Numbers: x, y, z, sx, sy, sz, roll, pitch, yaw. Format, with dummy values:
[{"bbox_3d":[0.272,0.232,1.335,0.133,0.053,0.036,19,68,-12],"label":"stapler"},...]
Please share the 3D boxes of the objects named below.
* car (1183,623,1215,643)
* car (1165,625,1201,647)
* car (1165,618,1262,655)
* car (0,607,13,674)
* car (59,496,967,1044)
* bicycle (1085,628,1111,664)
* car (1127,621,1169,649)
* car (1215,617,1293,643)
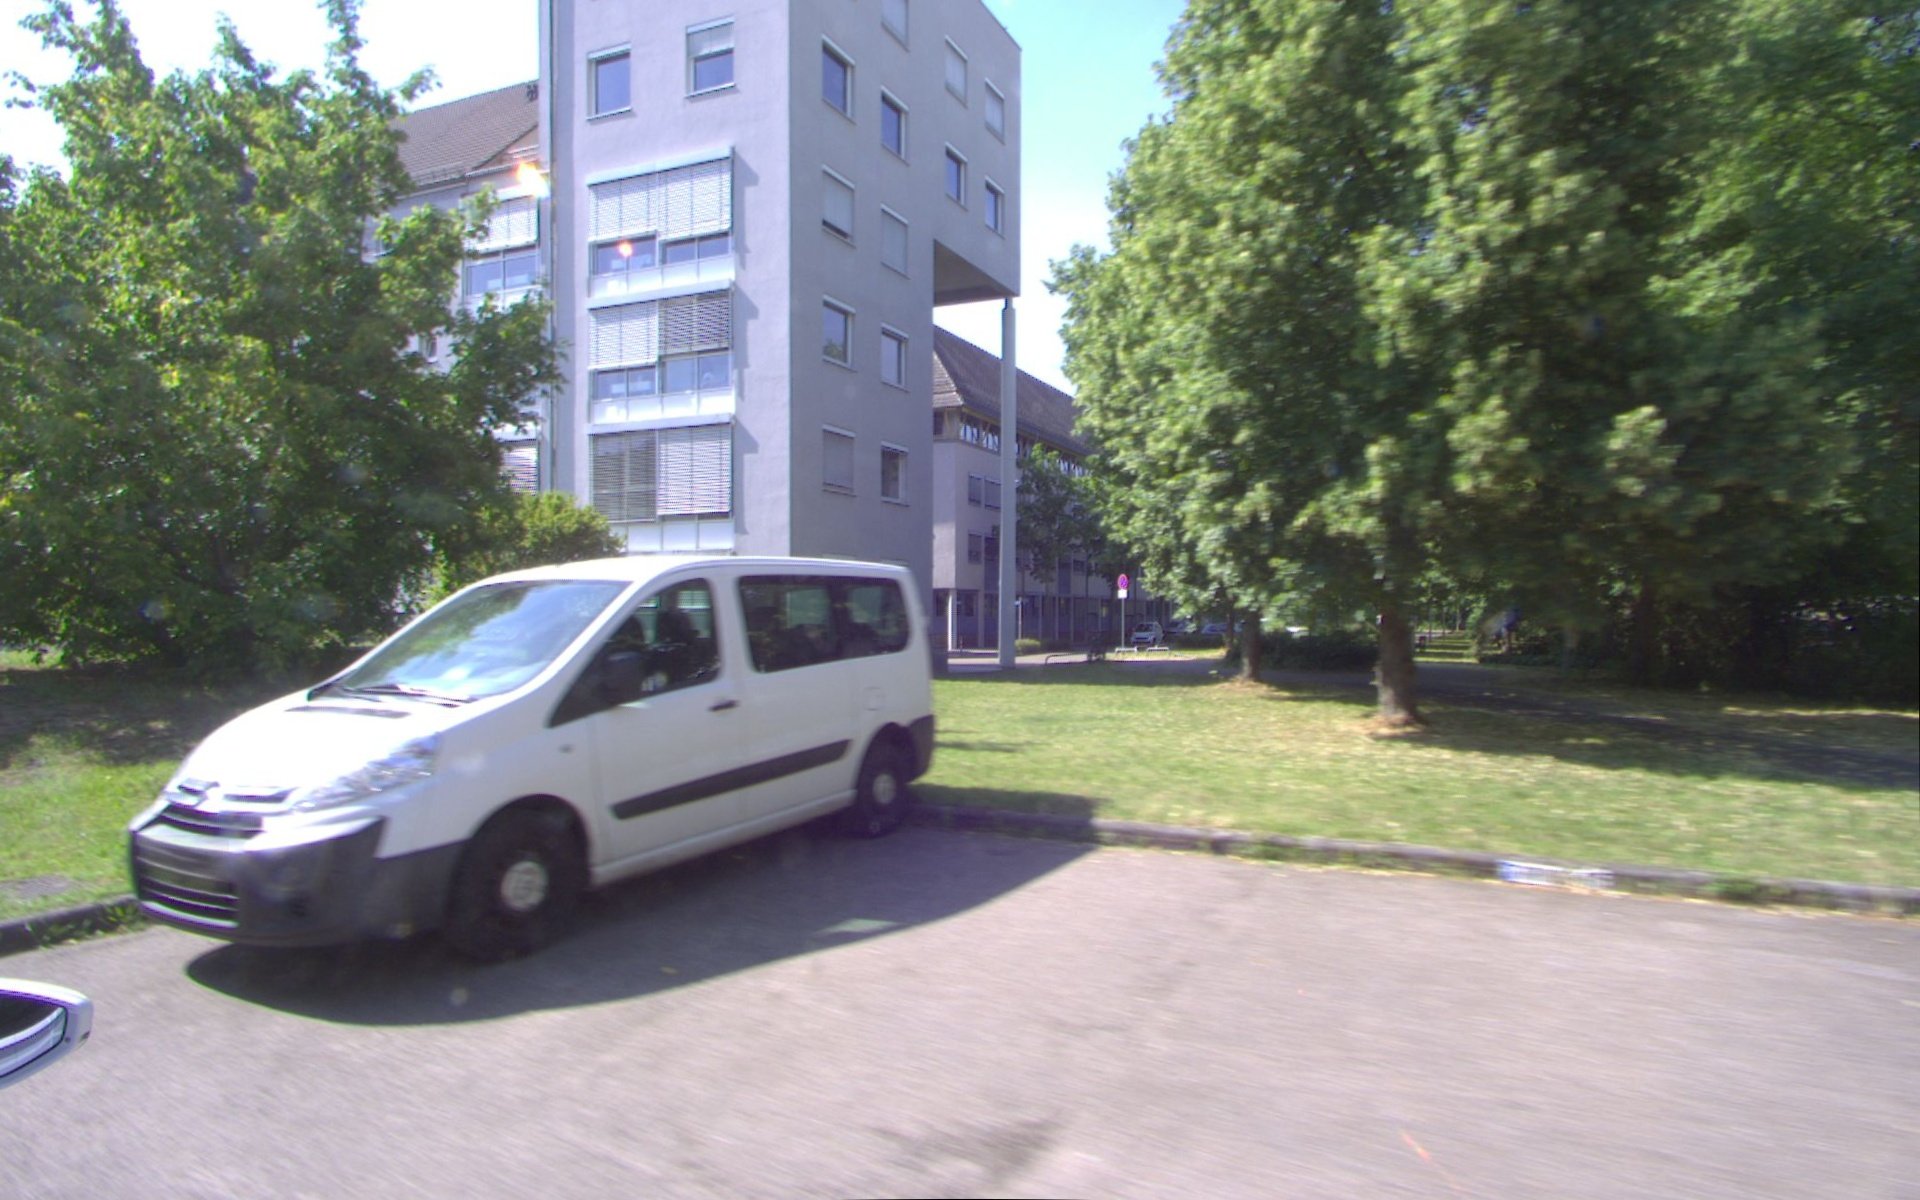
[{"bbox_3d":[19.016,2.608,79.496,1.655,1.545,3.986,0,-1,26],"label":"car"},{"bbox_3d":[16.306,2.615,72.978,1.655,1.545,3.986,0,-1,26],"label":"car"},{"bbox_3d":[12.753,1.802,50.408,4.371,1.662,1.990,1,1,30],"label":"car"},{"bbox_3d":[-22.284,0.882,20.399,1.782,1.446,3.987,0,0,25],"label":"car"},{"bbox_3d":[-2.024,0.651,6.261,1.969,1.958,5.019,0,-1,29],"label":"car"},{"bbox_3d":[4.229,1.396,30.616,0.388,1.063,1.445,1,0,25],"label":"bicycle"},{"bbox_3d":[11.854,2.171,62.997,1.830,1.617,3.989,1,1,23],"label":"car"},{"bbox_3d":[18.718,1.885,63.806,4.486,1.568,1.764,0,-1,33],"label":"car"}]
